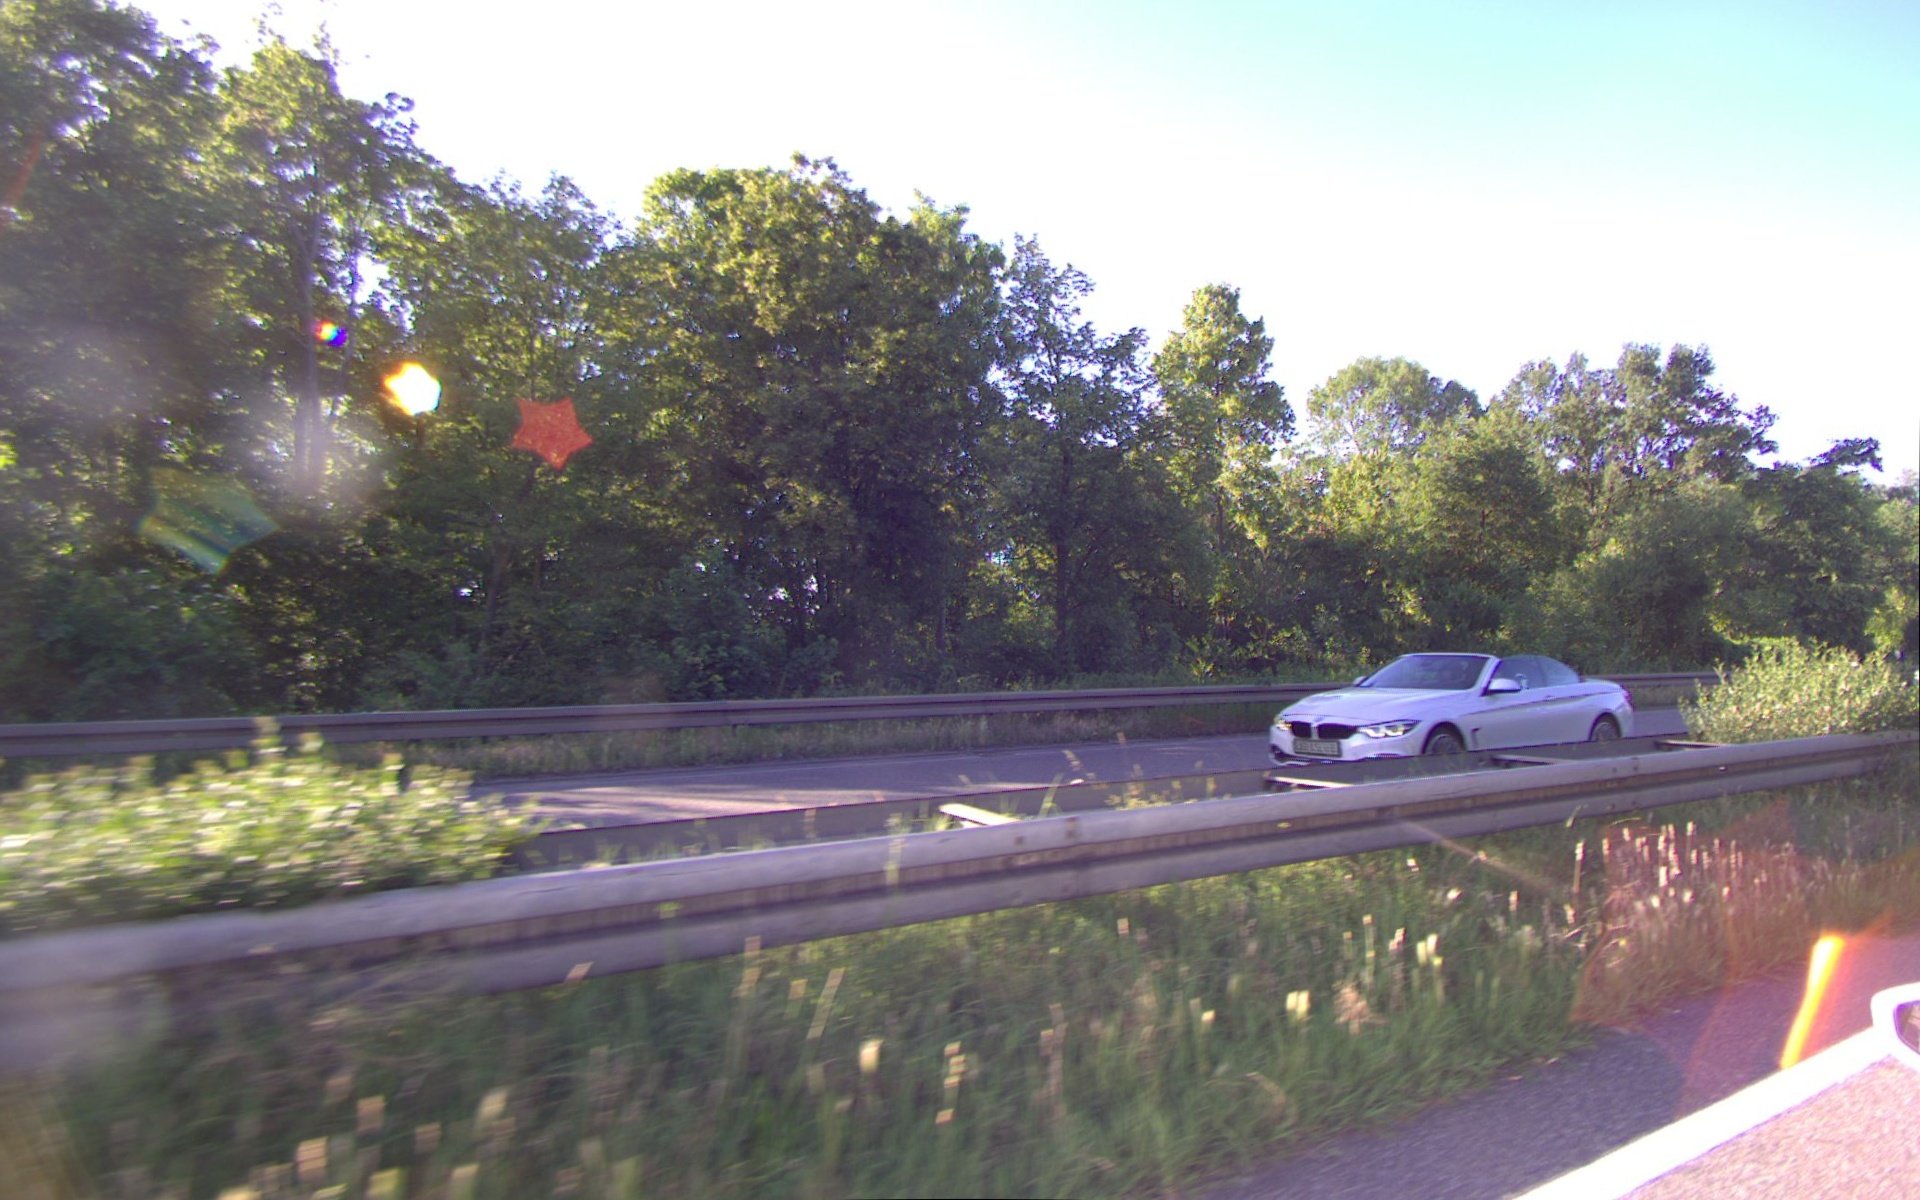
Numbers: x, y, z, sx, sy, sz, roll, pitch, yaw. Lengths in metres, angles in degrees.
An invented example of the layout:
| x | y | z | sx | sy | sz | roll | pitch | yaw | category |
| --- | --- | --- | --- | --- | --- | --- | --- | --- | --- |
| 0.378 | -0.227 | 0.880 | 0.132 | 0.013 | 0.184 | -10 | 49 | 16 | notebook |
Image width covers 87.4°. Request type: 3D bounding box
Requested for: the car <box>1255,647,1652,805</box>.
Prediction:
| x | y | z | sx | sy | sz | roll | pitch | yaw | category |
| --- | --- | --- | --- | --- | --- | --- | --- | --- | --- |
| 5.454 | 1.225 | 10.965 | 4.409 | 1.374 | 1.765 | 1 | -2 | -30 | car |

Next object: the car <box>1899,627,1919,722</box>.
| x | y | z | sx | sy | sz | roll | pitch | yaw | category |
| --- | --- | --- | --- | --- | --- | --- | --- | --- | --- |
| 20.199 | 1.418 | 19.438 | 4.287 | 1.795 | 1.825 | 1 | -2 | -30 | car |
